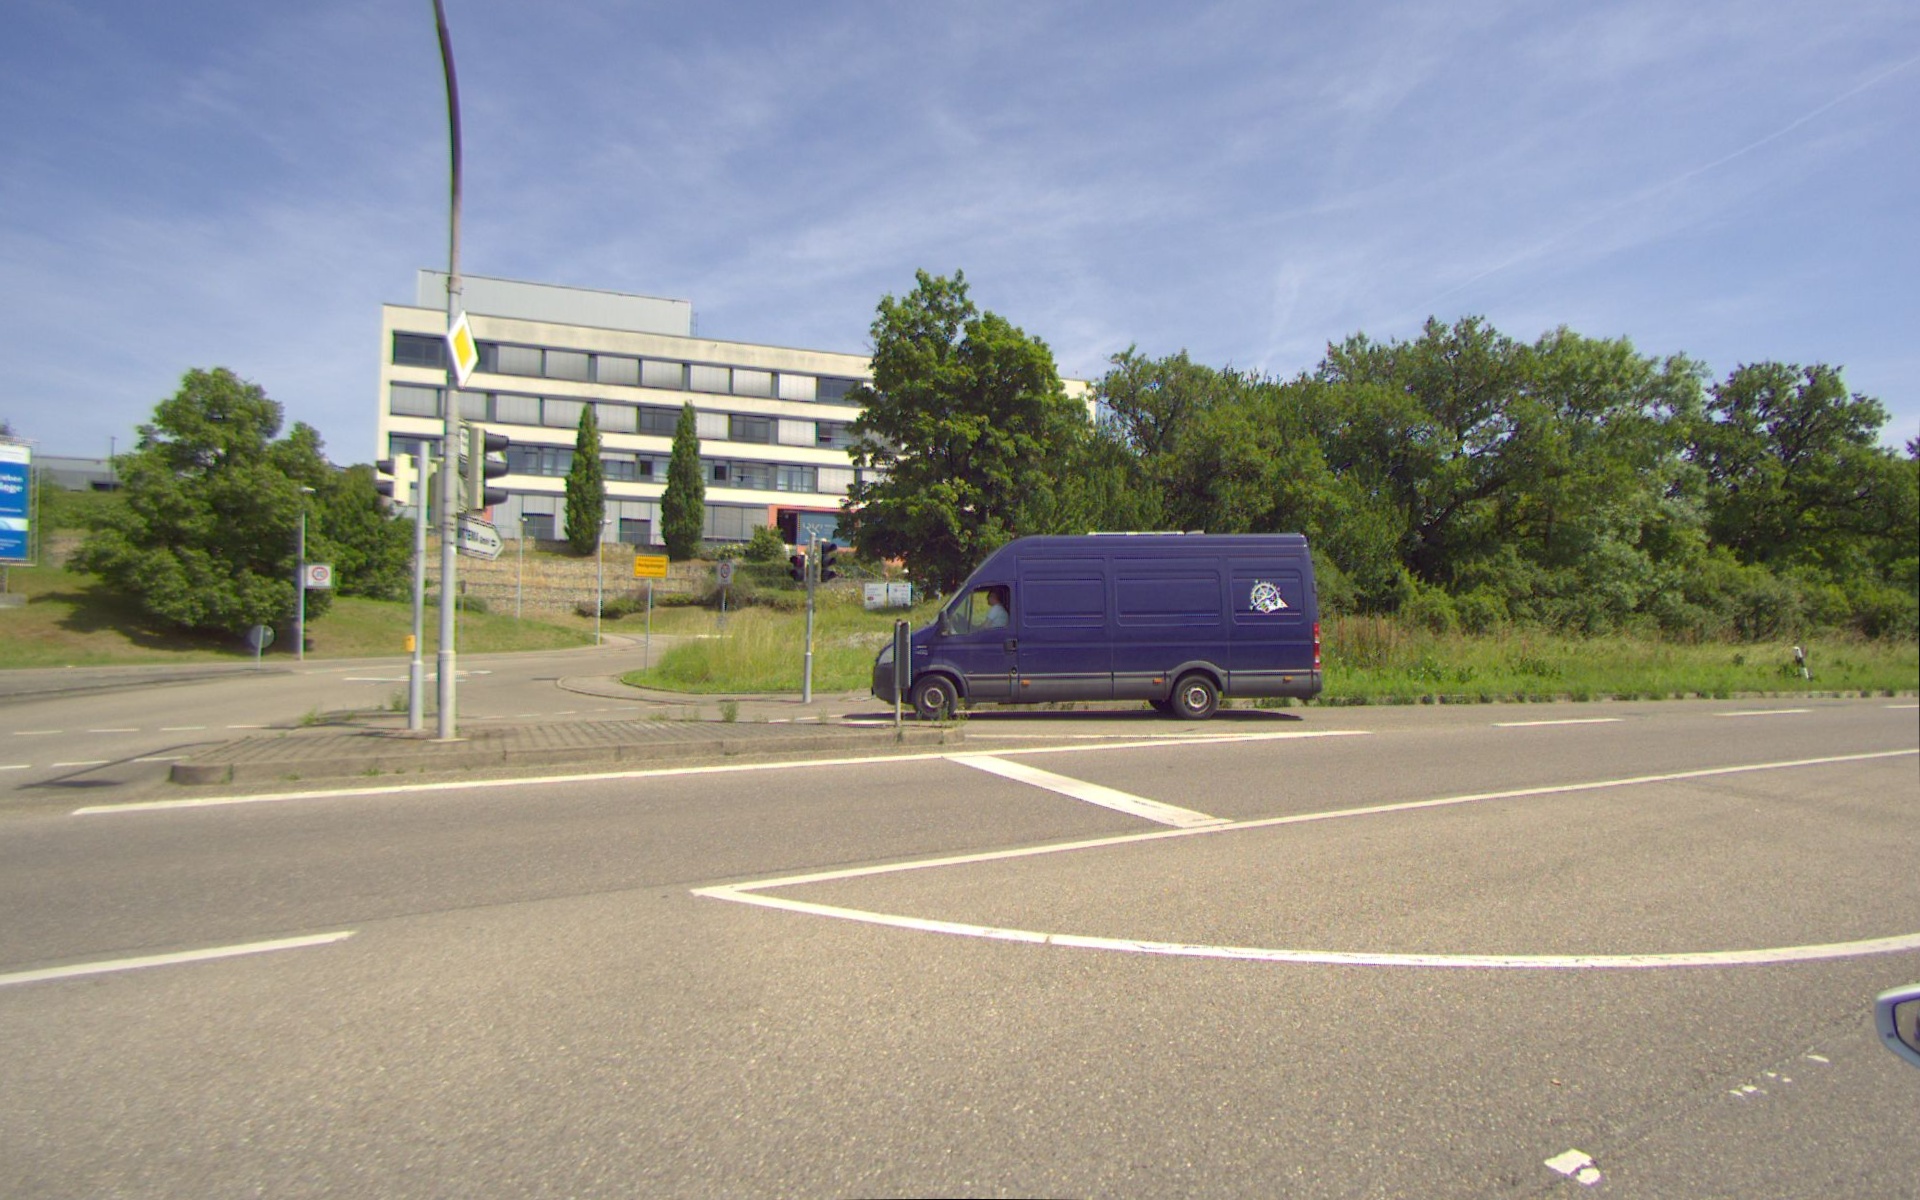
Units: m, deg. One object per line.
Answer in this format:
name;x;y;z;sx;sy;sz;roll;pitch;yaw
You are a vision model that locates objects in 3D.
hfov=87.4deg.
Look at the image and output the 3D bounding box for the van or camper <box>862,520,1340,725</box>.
van or camper;2.064;0.337;15.863;7.108;2.953;2.246;0;0;-4
